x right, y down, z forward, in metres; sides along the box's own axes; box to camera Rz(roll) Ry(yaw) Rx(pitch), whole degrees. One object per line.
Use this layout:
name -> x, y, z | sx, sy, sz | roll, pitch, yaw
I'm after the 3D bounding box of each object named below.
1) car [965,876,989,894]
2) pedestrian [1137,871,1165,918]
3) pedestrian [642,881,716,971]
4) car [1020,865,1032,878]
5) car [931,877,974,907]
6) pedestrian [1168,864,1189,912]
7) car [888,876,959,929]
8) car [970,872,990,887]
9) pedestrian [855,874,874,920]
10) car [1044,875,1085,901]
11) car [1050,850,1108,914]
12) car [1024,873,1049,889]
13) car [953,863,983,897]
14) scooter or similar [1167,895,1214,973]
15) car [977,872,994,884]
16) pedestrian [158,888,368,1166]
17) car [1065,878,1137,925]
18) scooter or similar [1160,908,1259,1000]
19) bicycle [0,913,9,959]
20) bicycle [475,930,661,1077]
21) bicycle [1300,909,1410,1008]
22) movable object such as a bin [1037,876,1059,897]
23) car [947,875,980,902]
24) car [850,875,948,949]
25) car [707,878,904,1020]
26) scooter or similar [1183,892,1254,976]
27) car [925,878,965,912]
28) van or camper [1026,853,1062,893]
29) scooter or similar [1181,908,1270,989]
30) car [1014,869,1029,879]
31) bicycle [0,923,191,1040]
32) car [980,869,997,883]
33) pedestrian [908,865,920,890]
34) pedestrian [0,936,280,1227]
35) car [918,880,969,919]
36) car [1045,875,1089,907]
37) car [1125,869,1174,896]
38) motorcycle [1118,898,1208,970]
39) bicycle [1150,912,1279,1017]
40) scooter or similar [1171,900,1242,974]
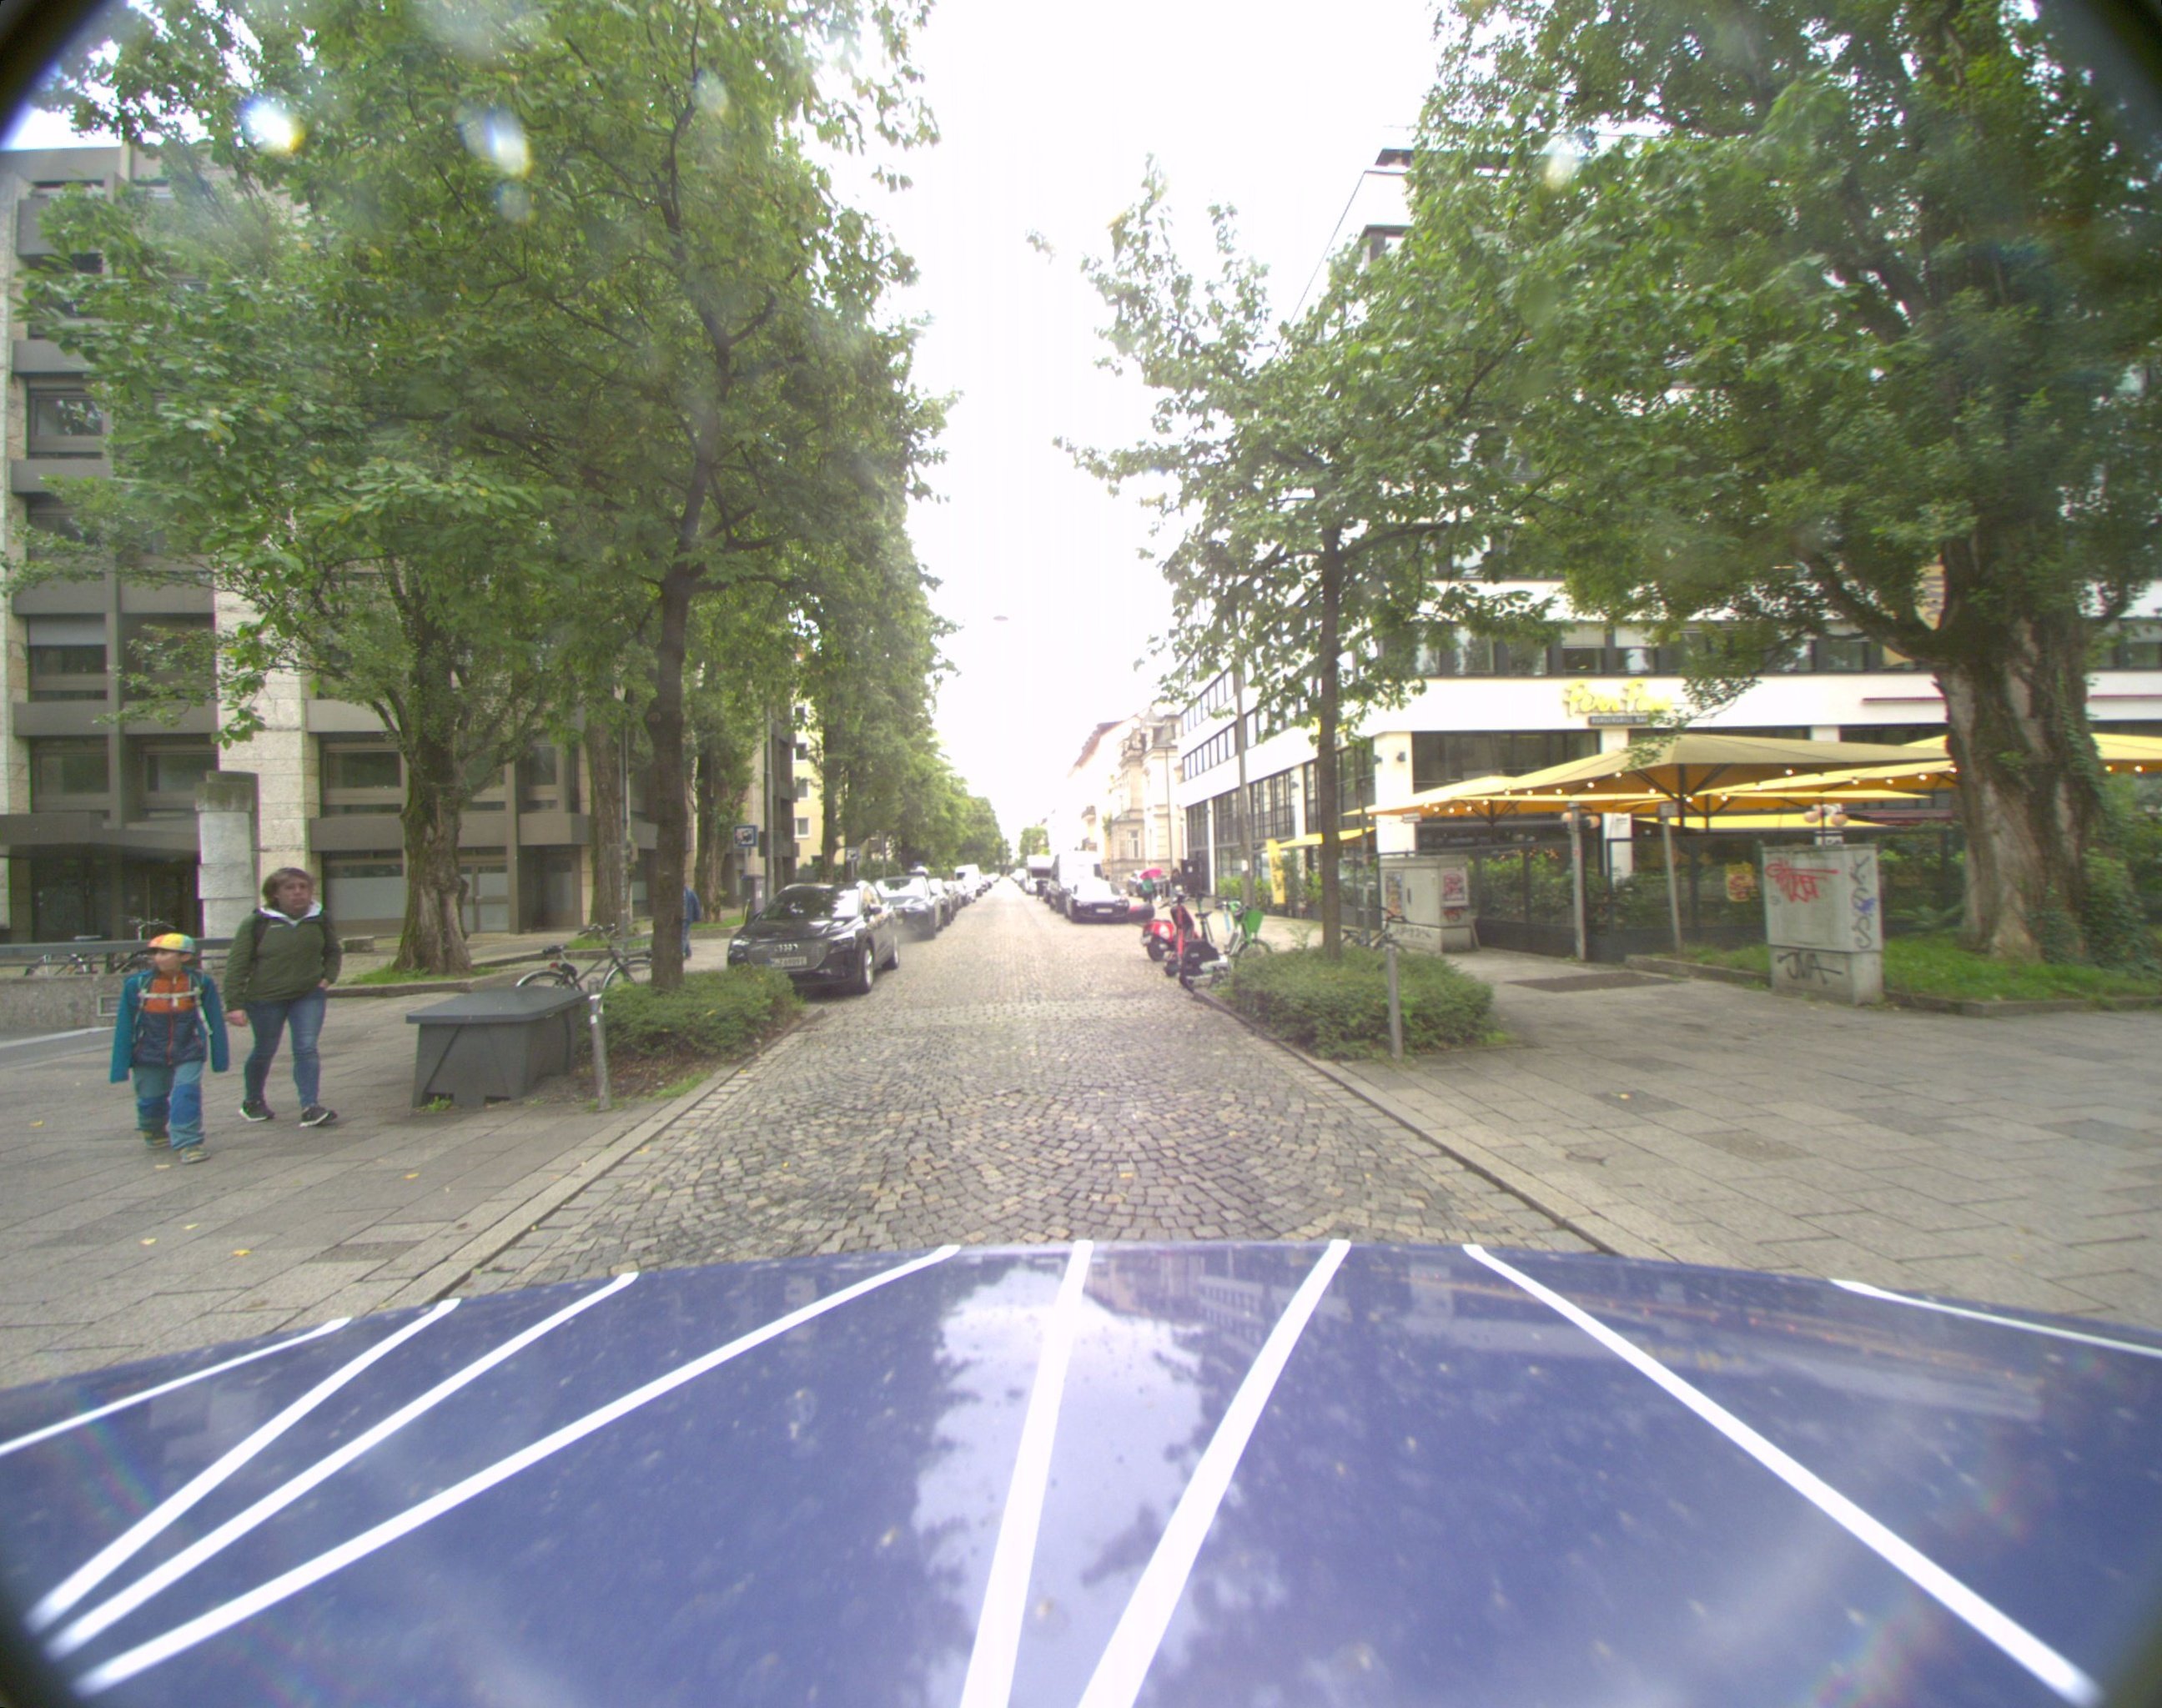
car -> -9.108, 2.687, 66.640 | 2.000, 1.379, 3.871 | -3, -1, -8
pedestrian -> 2.639, 1.524, 28.702 | 0.929, 1.696, 0.800 | -2, 0, -2
pedestrian -> -8.046, 1.421, 15.240 | 0.867, 1.704, 0.913 | -2, 0, 14
car -> -10.676, 3.453, 147.209 | 2.089, 2.418, 5.608 | -2, -1, -7
car -> -7.100, 2.078, 42.329 | 1.999, 1.379, 3.872 | -3, -1, -6
pedestrian -> 3.645, 1.263, 28.347 | 0.575, 1.738, 0.650 | -2, 0, -7
car -> -5.437, 1.632, 26.685 | 2.000, 1.573, 4.340 | -2, -1, -7
car -> -10.478, 2.666, 78.730 | 2.000, 1.379, 3.871 | -3, -1, -8
pedestrian -> -7.830, 1.541, 27.502 | 0.490, 1.618, 0.568 | -2, 0, -2
car -> -0.988, 1.923, 43.629 | 1.999, 1.380, 3.998 | -1, -1, -6
car -> -0.198, 1.136, 32.660 | 2.065, 2.476, 5.847 | -1, -1, -4
car -> -4.348, 2.571, 73.587 | 2.000, 1.379, 3.871 | -3, -1, -8
car -> -8.879, 2.002, 60.225 | 2.089, 2.418, 5.608 | -3, 0, -7
scooter or similar -> 1.933, 1.369, 13.302 | 0.327, 1.265, 1.360 | -2, -2, 29
car -> -11.741, 2.882, 93.405 | 2.000, 1.379, 3.871 | -2, -1, -8
pedestrian -> -5.438, 1.094, 5.084 | 0.689, 1.690, 0.665 | -2, 0, 11
car -> 0.573, 1.516, 25.500 | 1.999, 1.322, 4.115 | -2, -1, -4
scooter or similar -> 1.825, 1.385, 10.748 | 1.432, 1.137, 0.369 | -1, 0, -29
bicycle -> -27.544, 2.066, 18.197 | 0.648, 1.148, 2.245 | -2, -1, -5
bicycle -> -5.075, 1.420, 7.682 | 0.475, 1.130, 1.877 | -2, -1, 4
bicycle -> 3.405, 1.263, 9.604 | 0.554, 1.016, 1.762 | -2, -1, -6
movable object such as a bin -> -2.109, 2.075, 48.700 | 1.255, 1.290, 1.173 | -1, -1, -9
car -> -7.355, 2.154, 47.727 | 1.868, 1.490, 3.871 | -3, -1, -8
car -> -4.869, 1.479, 20.954 | 2.019, 1.690, 4.671 | -2, -1, -7
car -> -4.061, 1.299, 11.988 | 1.926, 1.690, 4.199 | -2, -1, -7
scooter or similar -> 2.258, 1.280, 12.400 | 1.253, 1.265, 0.327 | -1, 0, -36
car -> -6.661, 1.974, 37.528 | 1.605, 1.422, 3.561 | -4, -1, -6
van or camper -> -3.141, 1.521, 62.741 | 2.465, 3.029, 7.314 | -2, -1, -7
scooter or similar -> 2.180, 1.419, 11.505 | 1.250, 1.137, 0.327 | -2, 0, -4
car -> -9.486, 3.164, 120.692 | 2.000, 1.401, 3.871 | -3, -1, -8
bicycle -> -12.305, 1.533, 9.289 | 1.868, 1.269, 0.721 | -2, 0, -4
car -> -11.955, 2.796, 97.755 | 2.000, 1.680, 3.871 | -3, 0, -8
pedestrian -> -10.517, 1.451, 47.780 | 0.646, 1.528, 0.708 | -2, 0, -8
pedestrian -> -5.421, 1.217, 4.365 | 0.769, 1.411, 0.819 | -2, 0, 11
car -> -5.890, 1.916, 32.924 | 1.724, 1.382, 4.204 | -4, 0, -5
car -> -0.747, 1.787, 37.887 | 1.999, 1.422, 3.999 | -1, -1, -3
car -> 4.105, 1.717, 46.315 | 1.914, 1.523, 4.166 | -2, -1, -10
motorcycle -> 1.558, 1.440, 14.140 | 0.769, 1.188, 1.996 | -1, -2, 36
bicycle -> 1.760, 1.388, 9.883 | 1.766, 1.136, 0.552 | -1, -1, -36
scooter or similar -> 2.124, 1.392, 12.982 | 0.391, 1.173, 1.248 | -1, -1, -37
